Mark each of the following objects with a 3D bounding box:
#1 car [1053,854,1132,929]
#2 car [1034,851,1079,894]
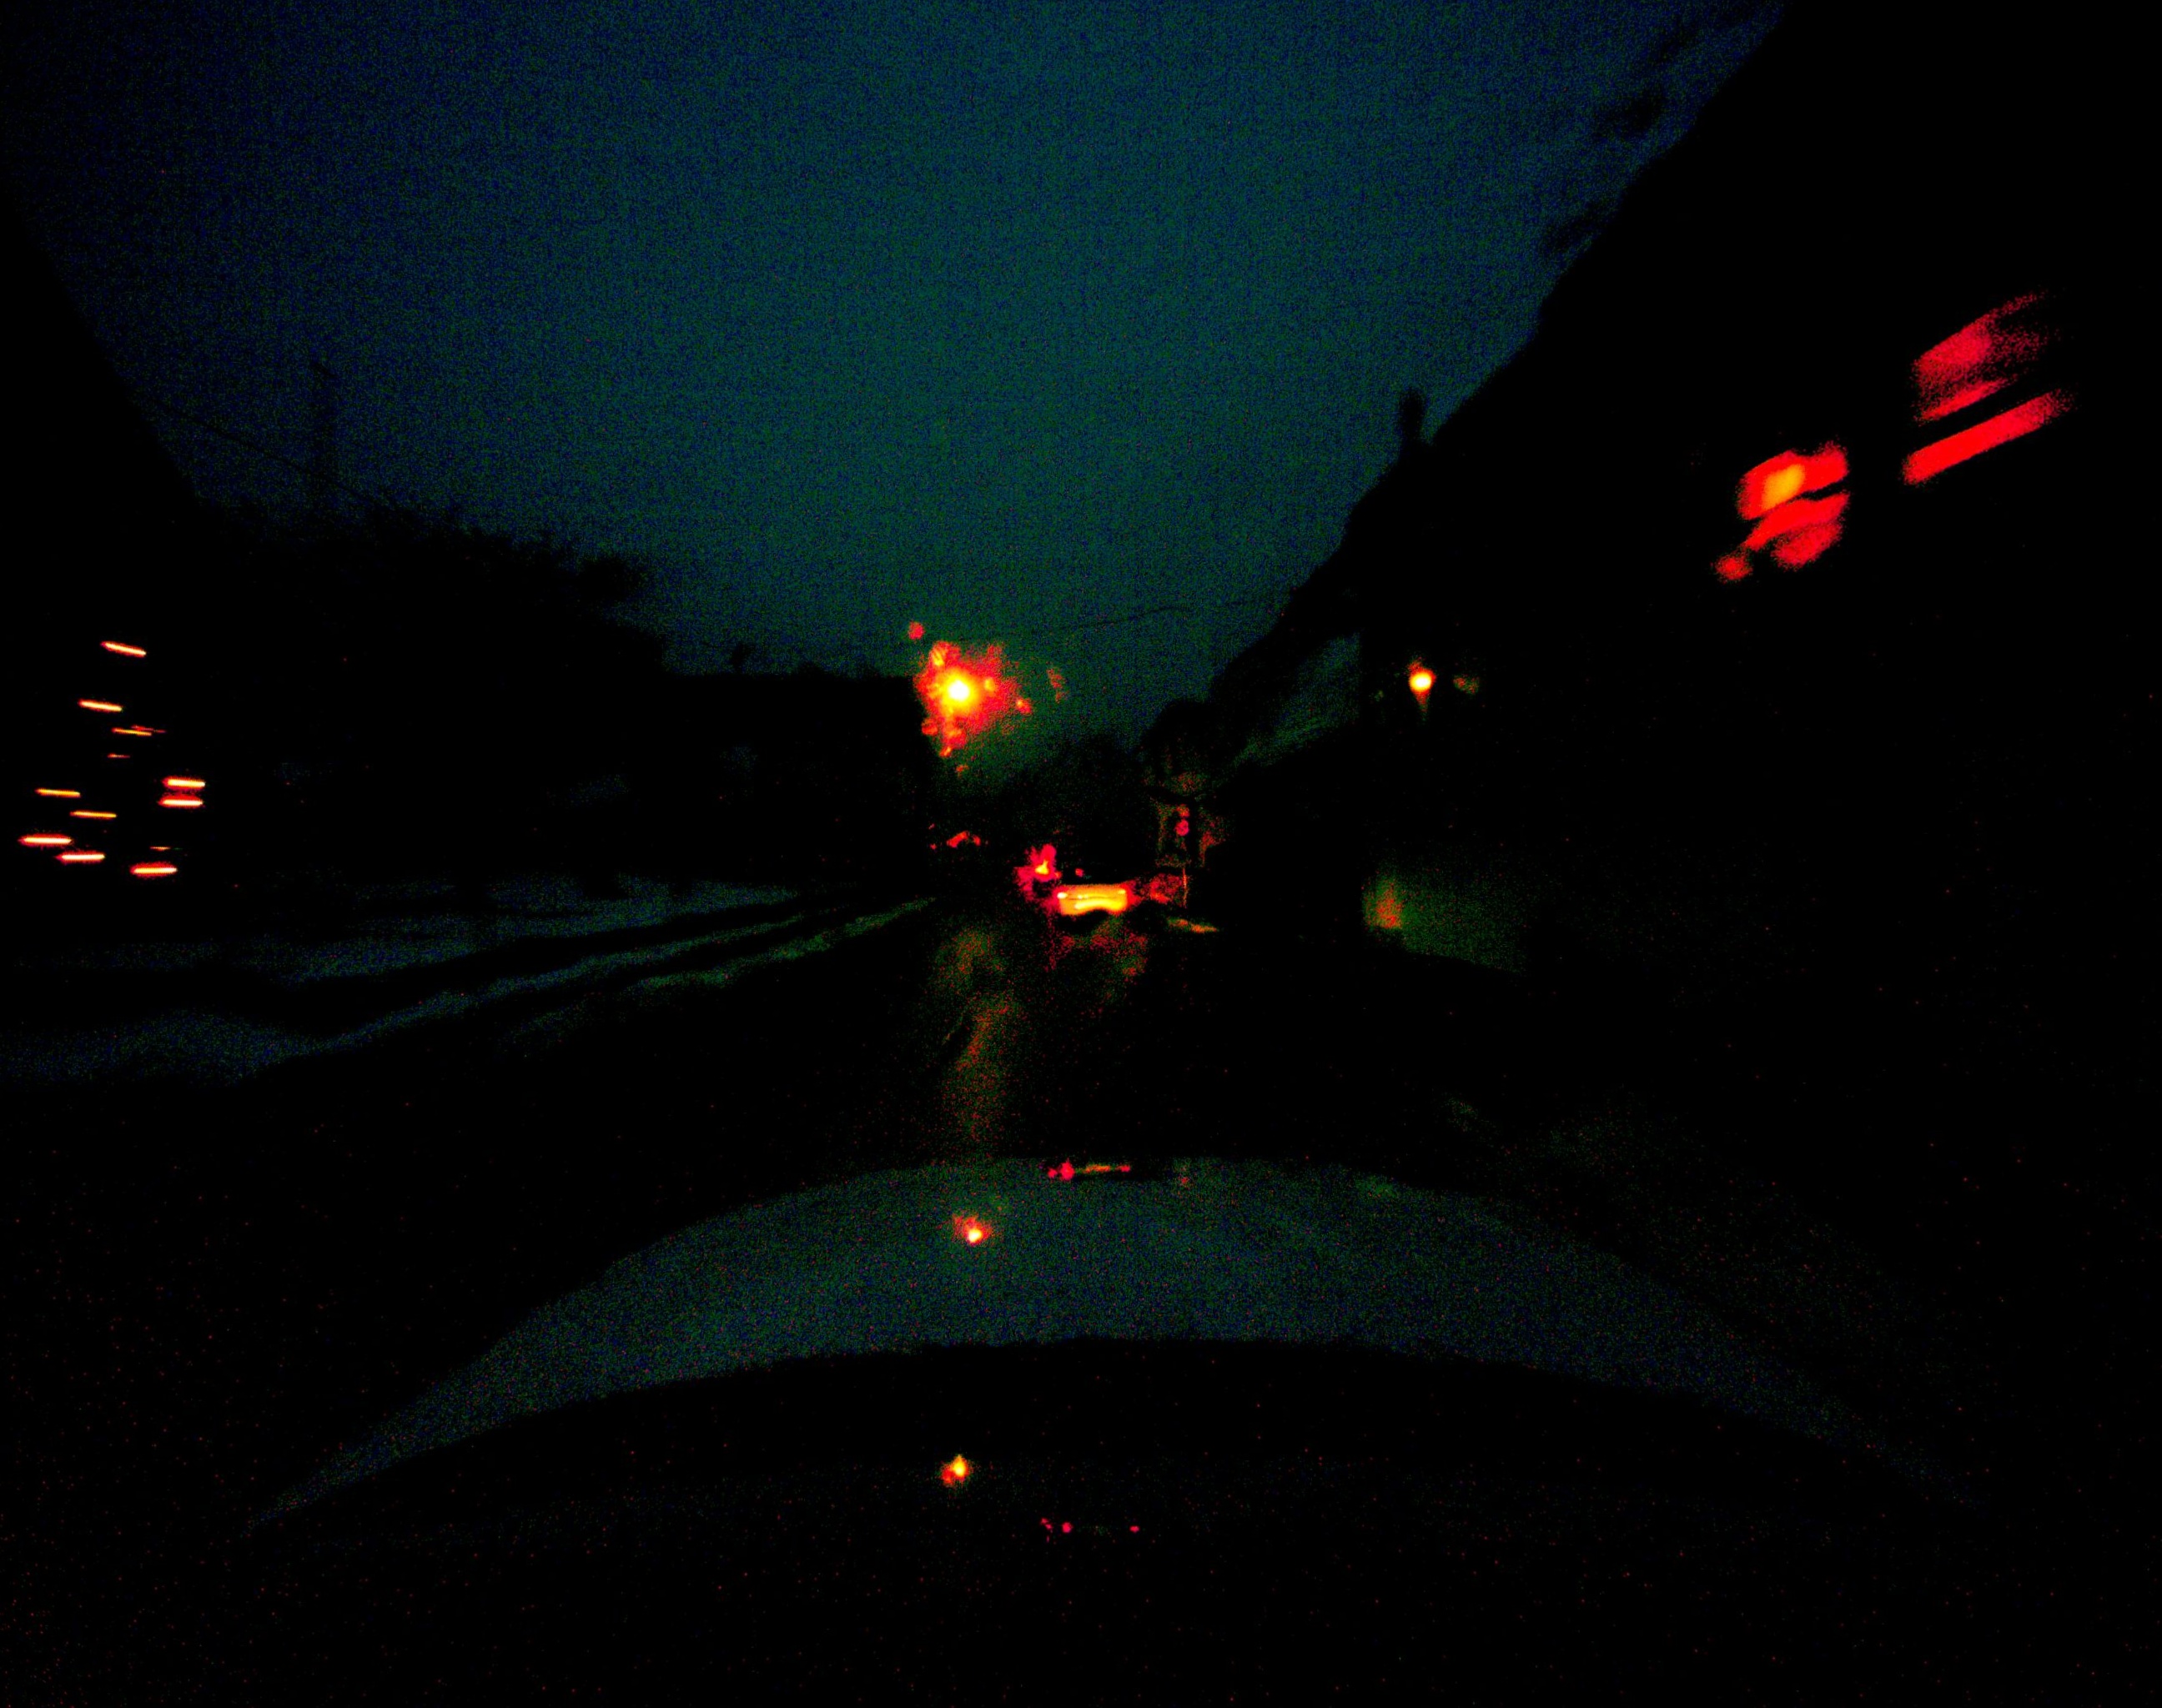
[{"bbox_3d":[0.194,0.866,19.453,1.641,1.596,3.695,1,-2,-3],"label":"car"},{"bbox_3d":[-1.022,0.745,32.192,1.642,1.596,3.694,1,-2,-4],"label":"car"}]
